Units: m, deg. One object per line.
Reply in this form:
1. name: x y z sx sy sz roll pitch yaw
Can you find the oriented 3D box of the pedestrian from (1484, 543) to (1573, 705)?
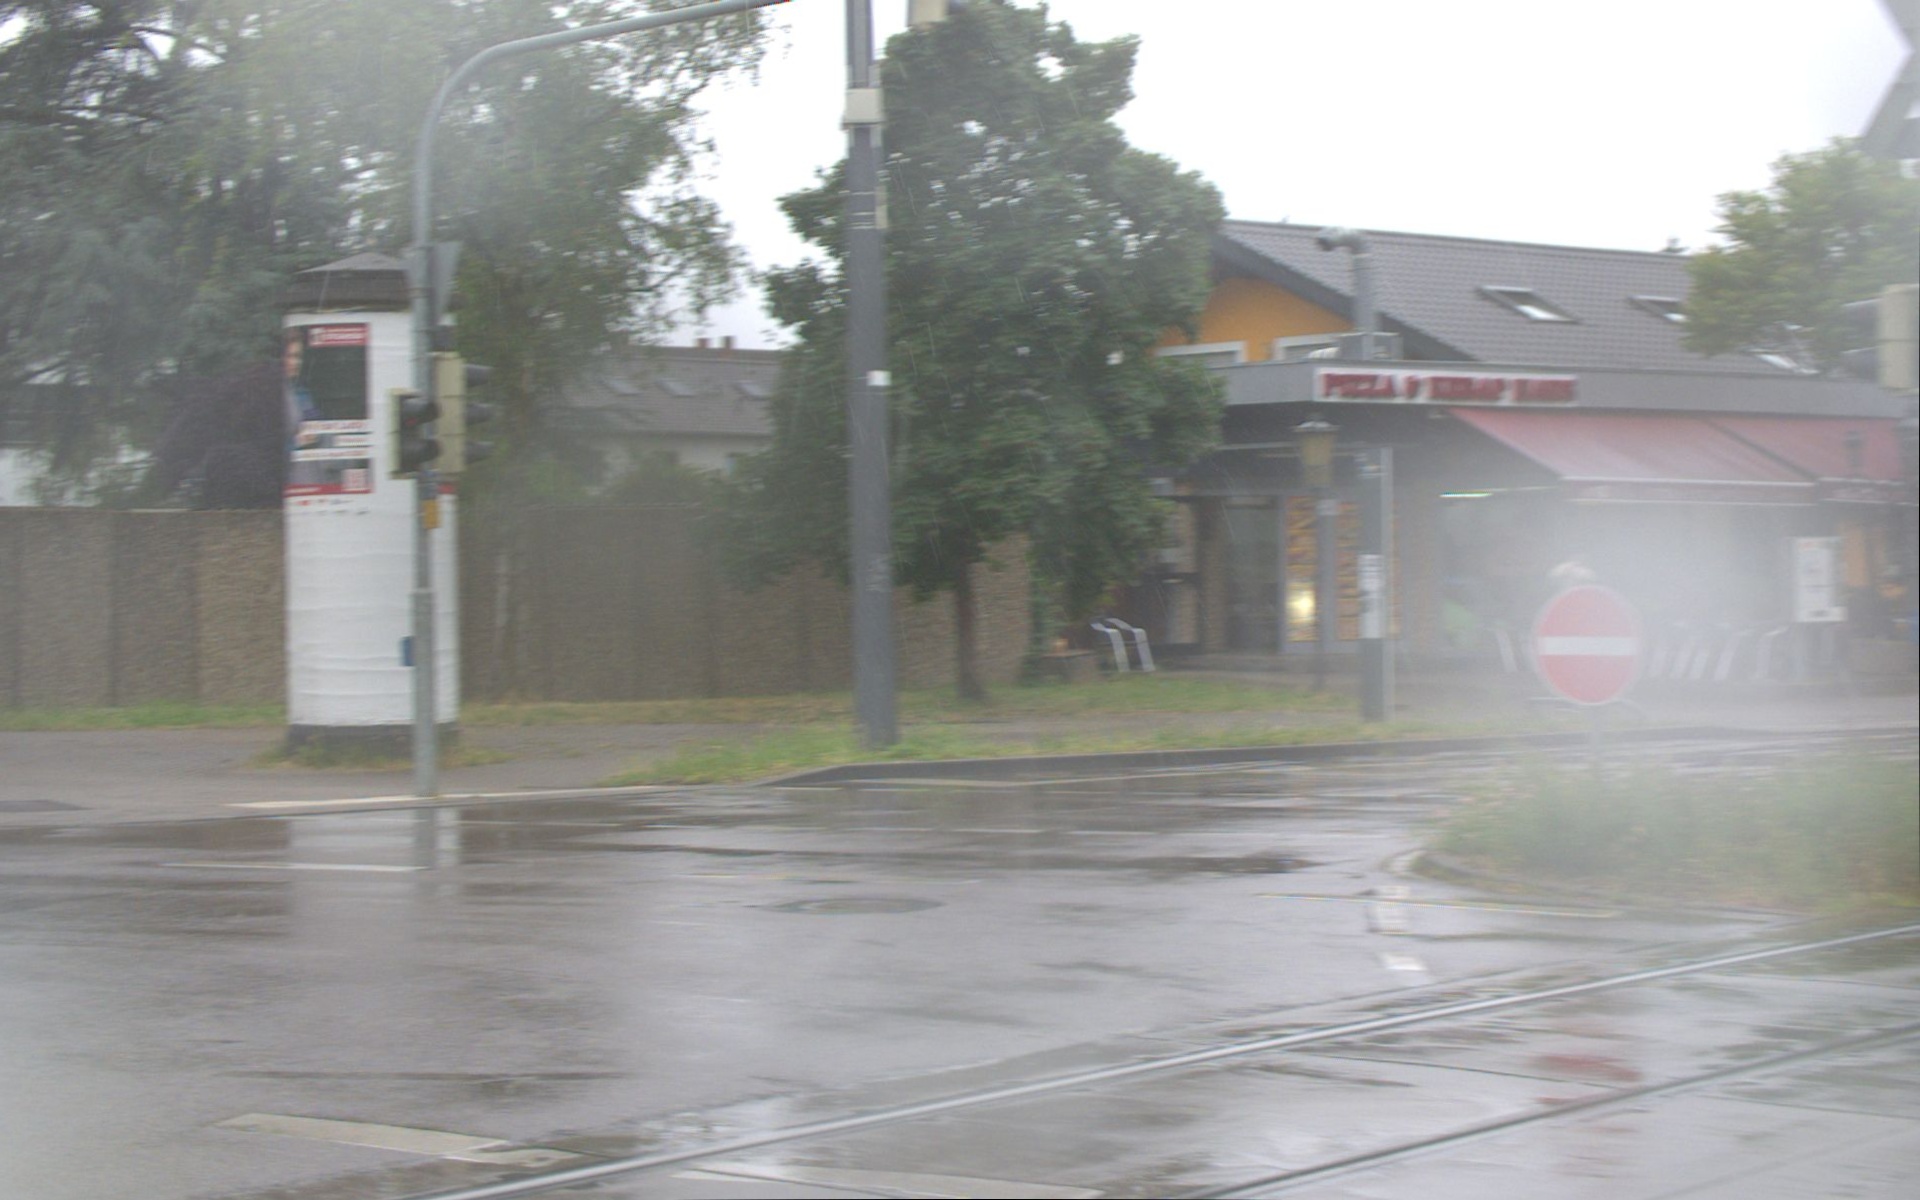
1. pedestrian: 6.437 0.257 38.930 0.726 1.791 0.885 2 2 27
